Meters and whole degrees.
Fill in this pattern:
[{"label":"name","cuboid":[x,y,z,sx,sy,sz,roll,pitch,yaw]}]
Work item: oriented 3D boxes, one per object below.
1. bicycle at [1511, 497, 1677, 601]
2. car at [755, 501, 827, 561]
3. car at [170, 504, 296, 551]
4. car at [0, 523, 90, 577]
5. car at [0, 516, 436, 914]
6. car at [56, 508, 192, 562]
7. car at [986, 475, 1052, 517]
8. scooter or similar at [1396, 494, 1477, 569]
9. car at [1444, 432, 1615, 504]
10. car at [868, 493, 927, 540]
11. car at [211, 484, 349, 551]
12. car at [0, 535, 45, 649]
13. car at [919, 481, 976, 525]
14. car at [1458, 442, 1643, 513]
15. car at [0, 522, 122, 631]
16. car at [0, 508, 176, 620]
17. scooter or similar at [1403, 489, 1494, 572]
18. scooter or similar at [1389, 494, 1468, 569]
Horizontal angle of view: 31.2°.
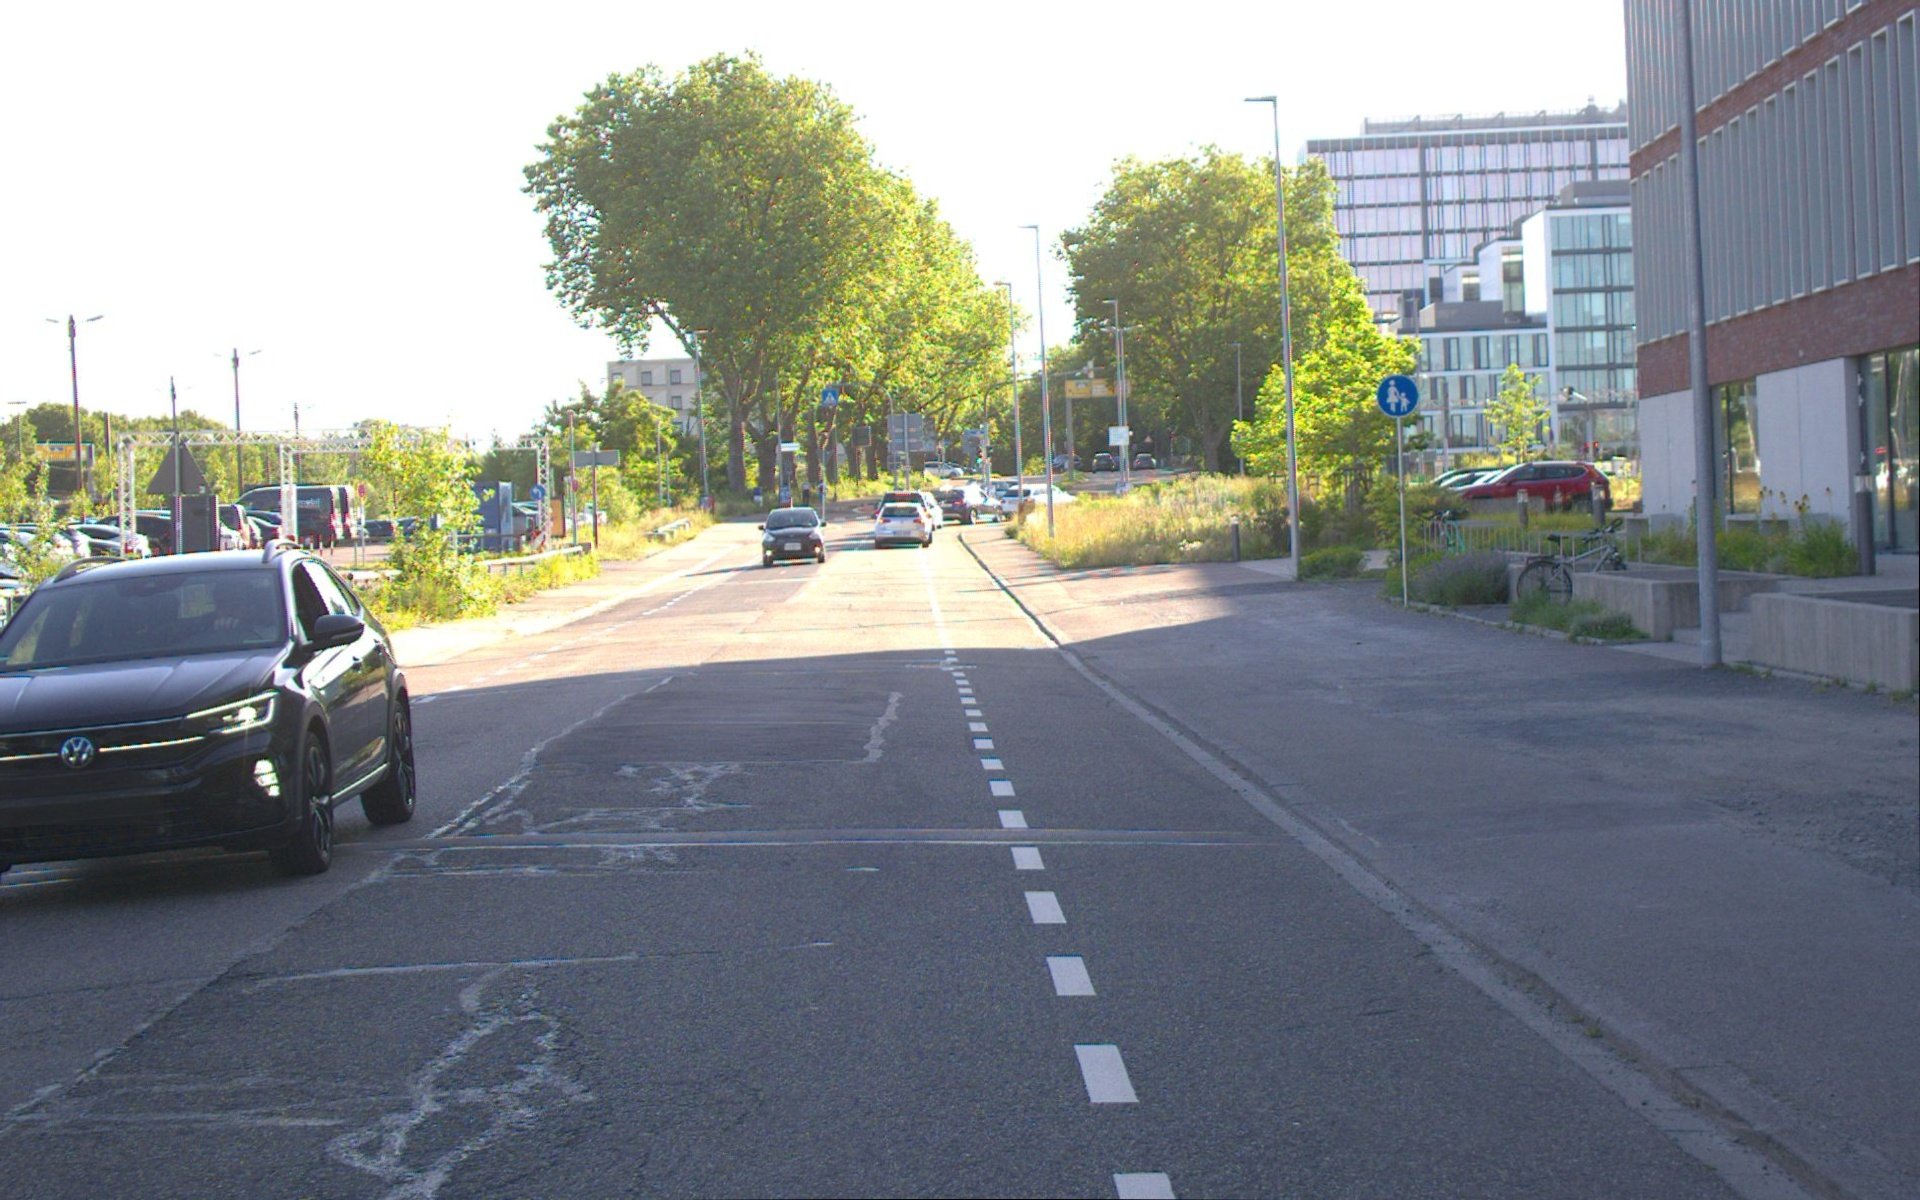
[{"label":"bicycle","cuboid":[7.812,-0.629,42.372,1.931,1.165,0.375,-4,2,-6]},{"label":"car","cuboid":[-4.592,-1.878,93.627,1.654,1.498,4.000,-3,1,1]},{"label":"car","cuboid":[-27.196,-2.734,128.669,4.321,1.612,1.878,-1,2,-1]},{"label":"car","cuboid":[-26.930,-1.393,96.872,4.321,1.414,1.878,-1,2,-1]},{"label":"car","cuboid":[-3.726,0.457,16.493,1.740,1.520,4.112,-6,2,-1]},{"label":"car","cuboid":[-26.846,-2.102,110.459,3.882,1.598,1.878,-1,2,-1]},{"label":"car","cuboid":[2.530,-4.403,145.667,2.164,1.678,3.999,-1,1,10]},{"label":"scooter or similar","cuboid":[7.693,-1.113,55.537,1.243,1.151,0.366,-2,2,4]},{"label":"car","cuboid":[14.888,-3.451,90.062,4.184,1.575,1.851,-2,-3,3]},{"label":"car","cuboid":[-2.017,-2.696,111.073,1.790,1.415,4.001,-2,2,-1]},{"label":"car","cuboid":[-26.918,-3.276,136.270,4.926,2.451,2.320,-2,2,-1]},{"label":"car","cuboid":[-14.689,-0.046,45.749,4.428,1.456,2.049,-2,2,1]},{"label":"car","cuboid":[-0.492,-3.927,139.884,2.163,1.678,4.000,-1,1,1]},{"label":"car","cuboid":[14.267,-2.967,83.172,4.184,1.575,1.852,-1,2,3]},{"label":"car","cuboid":[-14.431,-0.291,48.985,4.428,1.456,2.049,-2,2,1]},{"label":"car","cuboid":[-14.928,-0.552,54.542,4.428,1.664,2.049,-2,2,1]},{"label":"scooter or similar","cuboid":[7.672,-1.087,53.979,1.340,1.241,0.423,-2,2,4]},{"label":"scooter or similar","cuboid":[7.781,-1.144,57.142,1.243,1.191,0.340,-2,2,4]}]
